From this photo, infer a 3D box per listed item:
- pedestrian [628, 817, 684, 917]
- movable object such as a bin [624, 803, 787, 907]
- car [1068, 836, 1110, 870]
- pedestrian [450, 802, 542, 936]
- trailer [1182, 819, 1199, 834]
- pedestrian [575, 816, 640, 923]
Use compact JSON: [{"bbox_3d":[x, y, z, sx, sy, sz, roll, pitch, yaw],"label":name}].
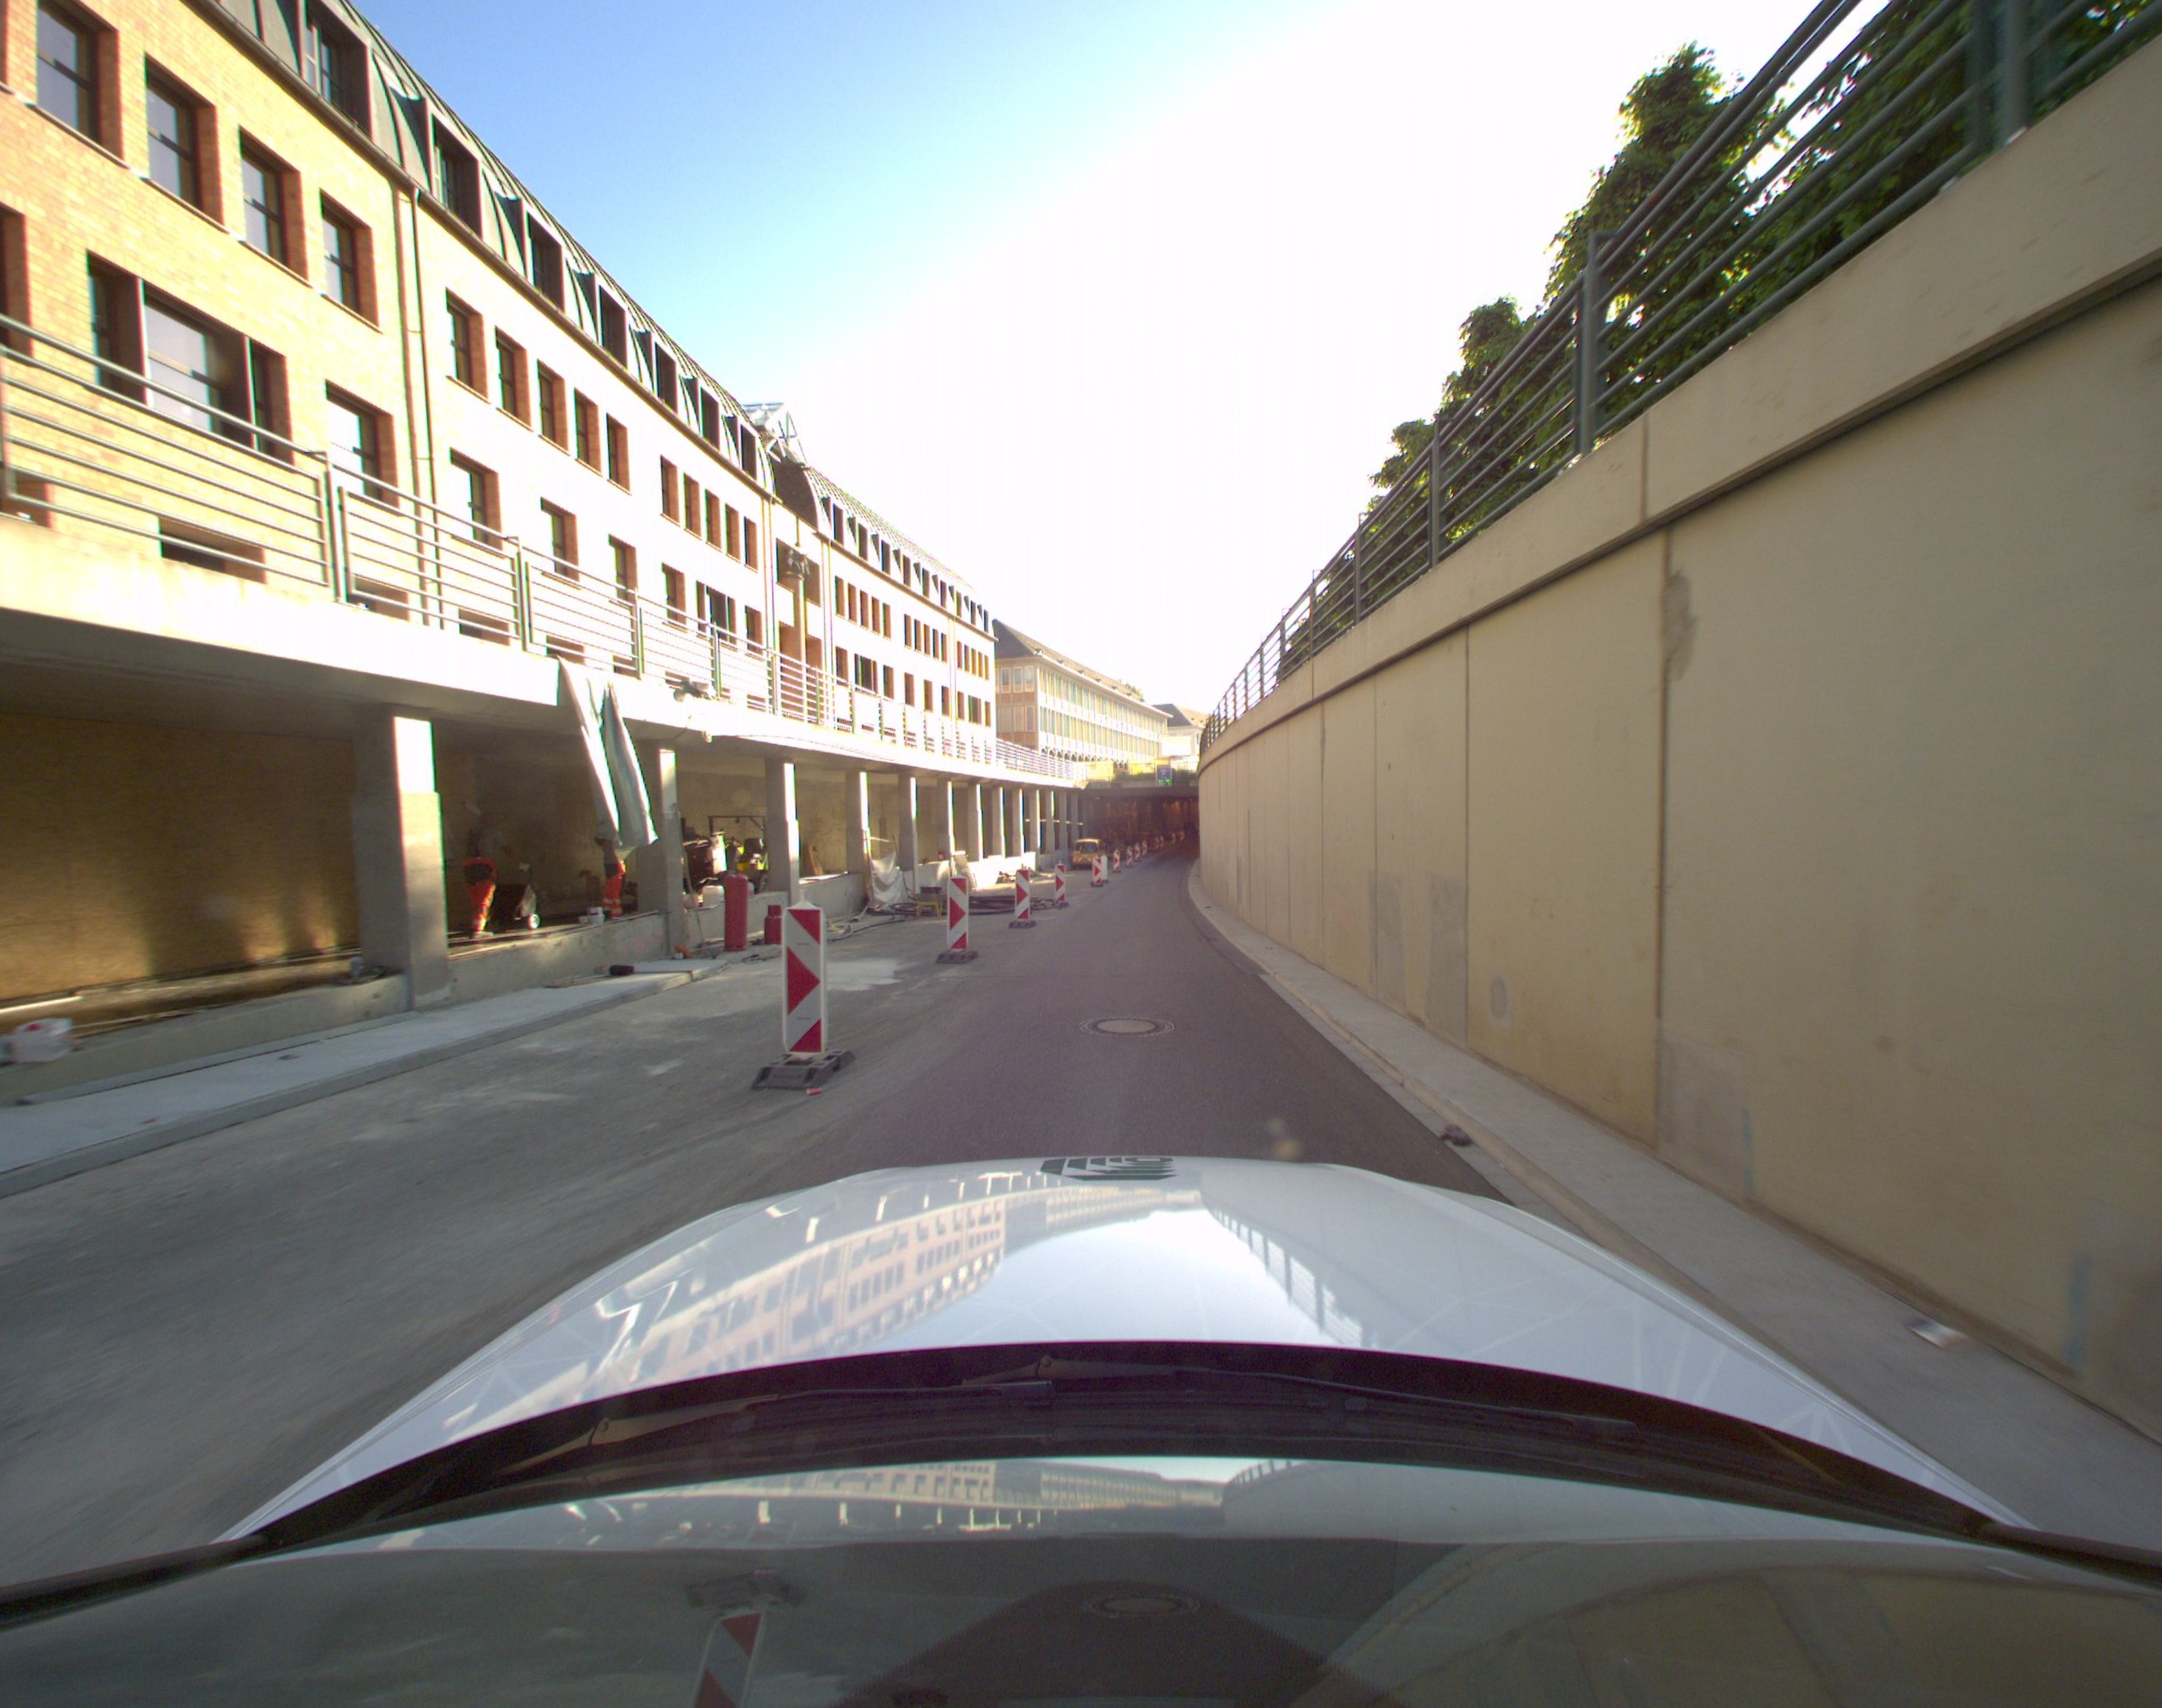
[{"bbox_3d":[-7.842,0.229,15.055,0.652,1.805,0.626,0,0,11],"label":"pedestrian"},{"bbox_3d":[-7.767,0.001,17.195,1.878,1.987,3.160,0,1,1],"label":"movable object such as a bin"},{"bbox_3d":[0.521,-0.102,48.843,1.837,1.775,4.447,0,3,9],"label":"car"},{"bbox_3d":[-8.885,0.214,12.403,0.674,1.957,0.937,1,0,3],"label":"pedestrian"},{"bbox_3d":[13.222,-3.320,98.181,1.568,1.797,2.953,1,3,16],"label":"trailer"},{"bbox_3d":[-8.269,0.265,14.252,0.701,1.814,0.710,0,0,1],"label":"pedestrian"}]
